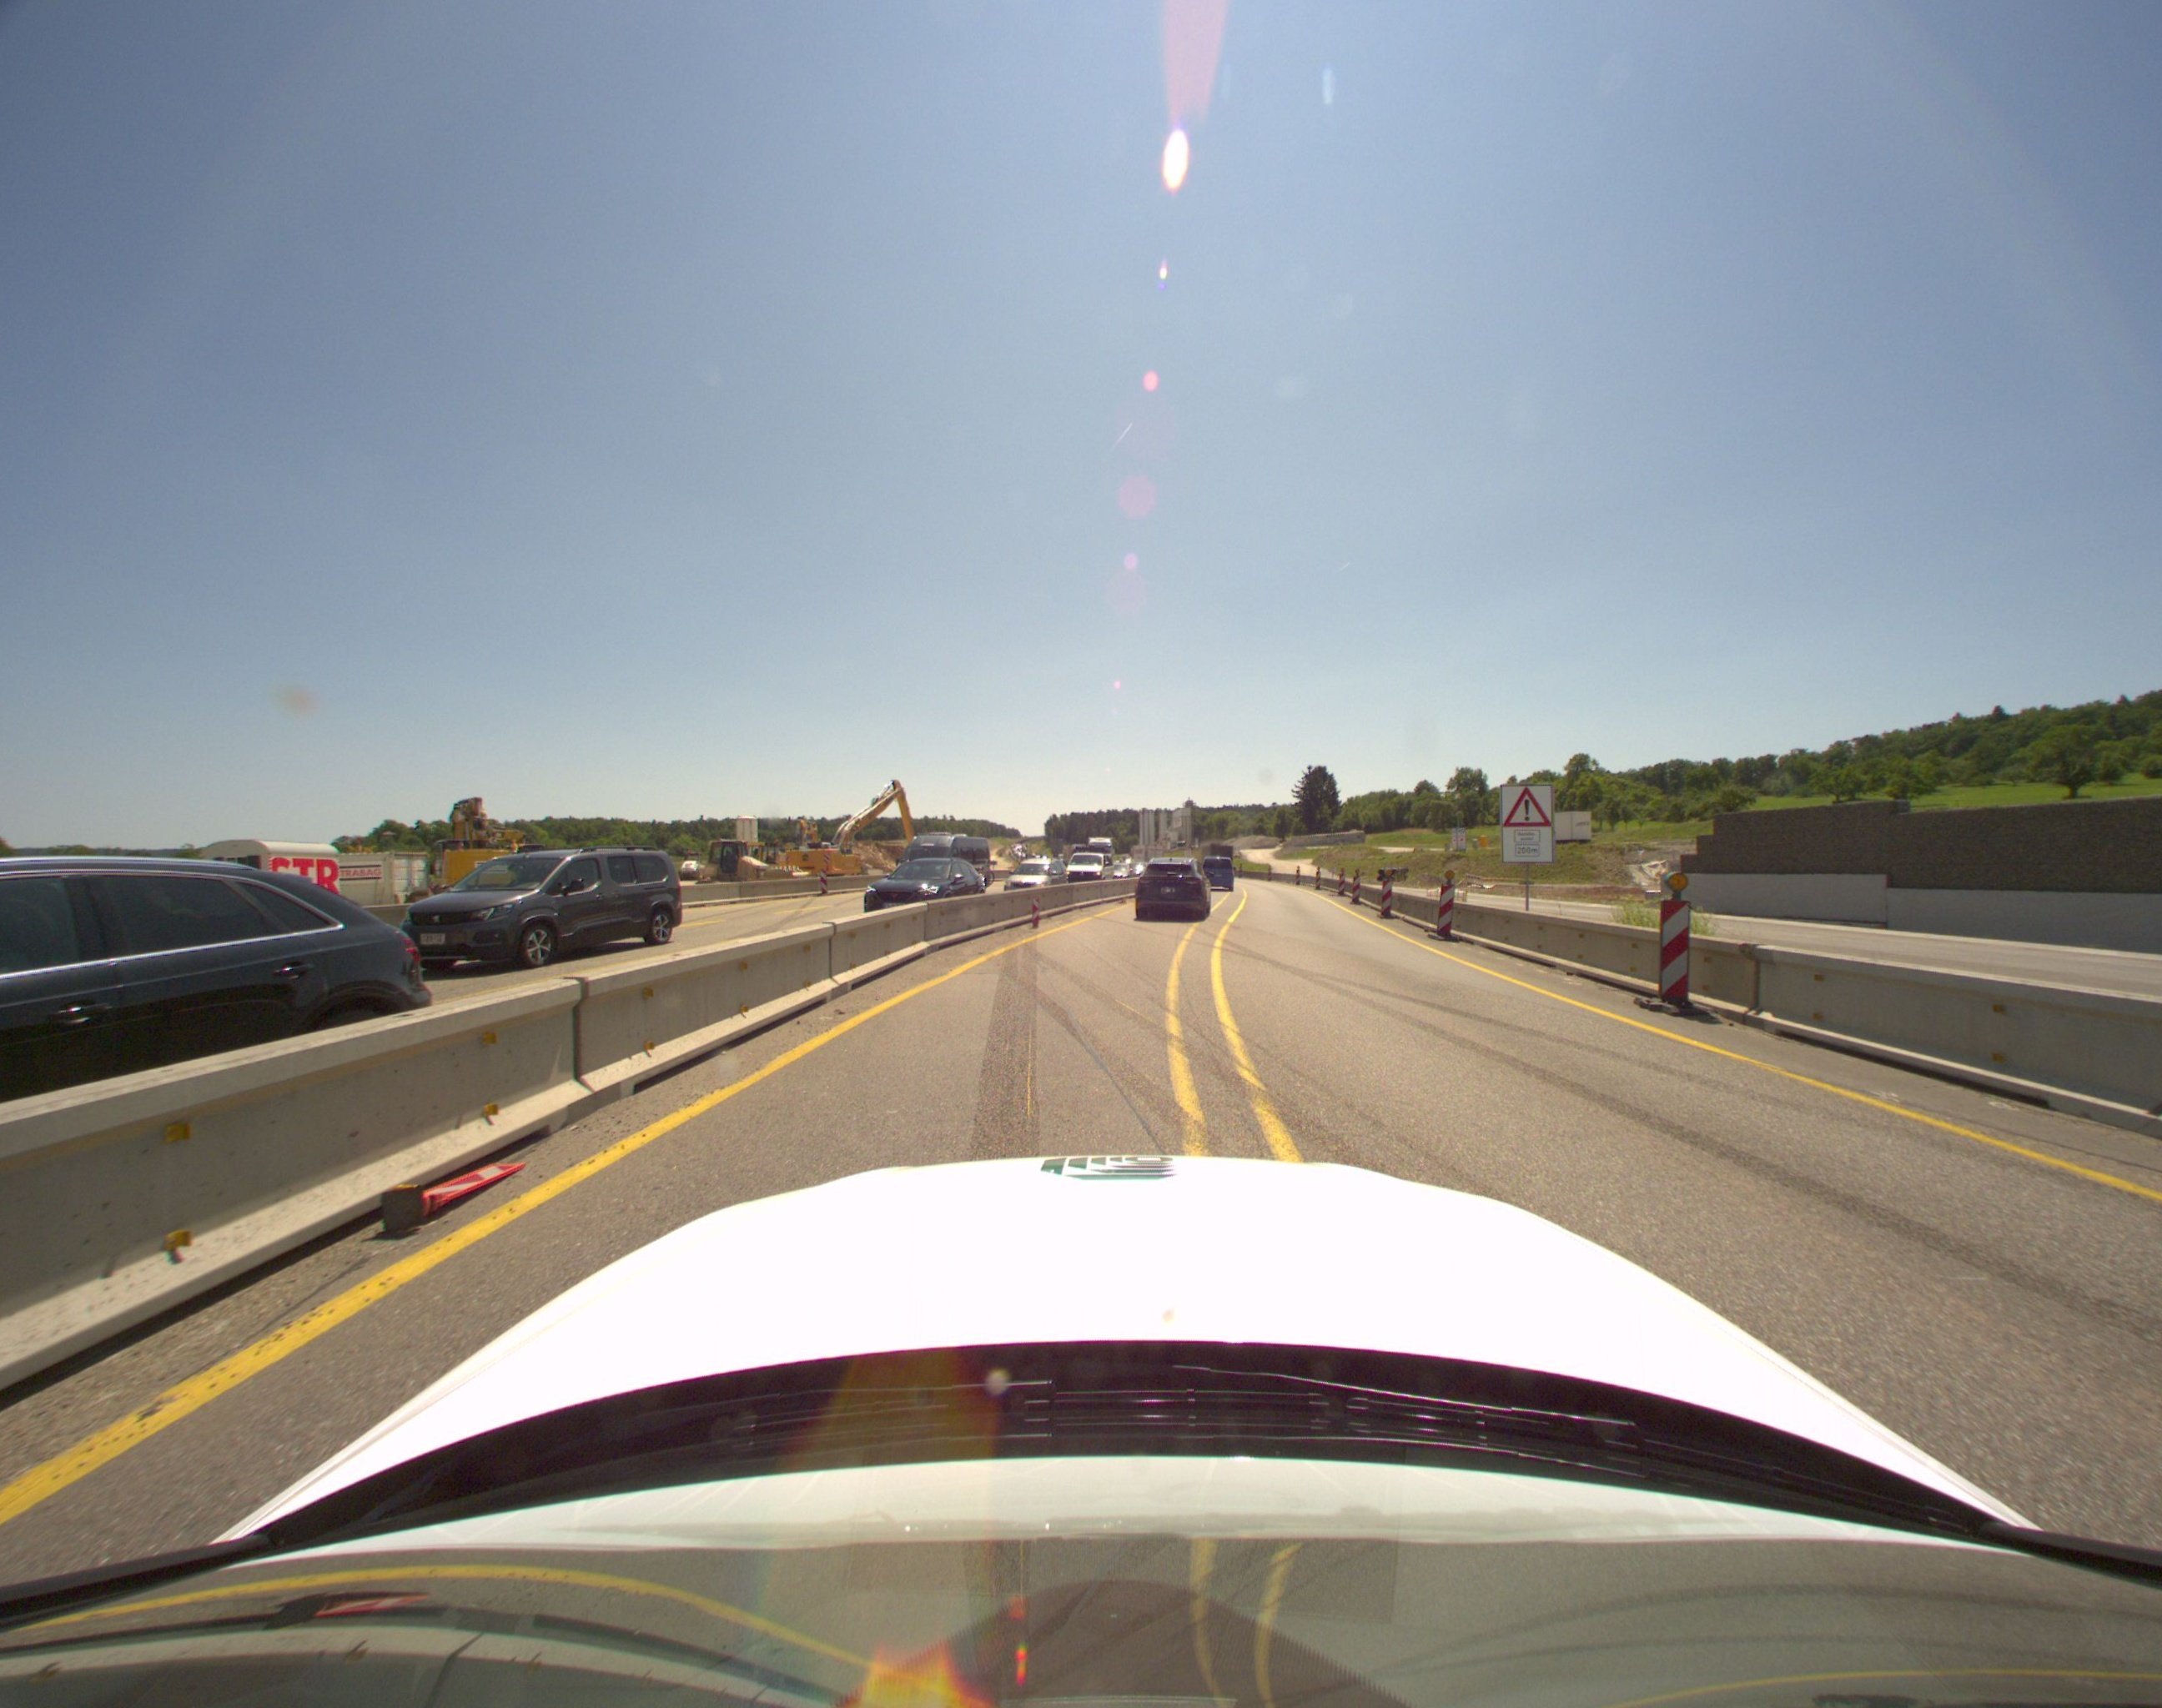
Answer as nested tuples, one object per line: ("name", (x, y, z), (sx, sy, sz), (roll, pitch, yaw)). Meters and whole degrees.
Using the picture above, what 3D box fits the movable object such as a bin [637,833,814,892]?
("movable object such as a bin", (-17.124, 0.363, 39.115), (7.829, 2.432, 3.741), (2, 0, 30))

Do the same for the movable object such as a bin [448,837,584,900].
("movable object such as a bin", (-32.076, 0.771, 46.575), (3.783, 3.256, 5.554), (2, 0, -1))

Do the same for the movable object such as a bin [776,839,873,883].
("movable object such as a bin", (-15.515, 0.421, 49.708), (3.269, 2.440, 5.458), (2, 0, 12))

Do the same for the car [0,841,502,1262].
("car", (-5.030, 0.785, 3.393), (1.762, 1.607, 4.710), (-2, 0, 1))

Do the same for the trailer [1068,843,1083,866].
("trailer", (-1.080, 0.075, 154.823), (2.729, 4.137, 8.180), (0, 0, -1))

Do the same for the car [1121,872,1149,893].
("car", (3.941, 2.030, 58.974), (1.716, 1.408, 4.137), (1, 0, 7))

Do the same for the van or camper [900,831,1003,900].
("van or camper", (-5.168, 0.443, 33.669), (2.085, 2.541, 6.325), (-1, -1, 12))

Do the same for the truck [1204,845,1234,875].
("truck", (14.063, 0.602, 83.094), (2.659, 2.945, 5.630), (-1, 0, 6))

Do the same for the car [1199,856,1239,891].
("car", (7.916, 1.067, 46.503), (1.980, 1.844, 4.014), (0, 0, 13))

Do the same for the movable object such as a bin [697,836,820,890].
("movable object such as a bin", (-18.153, 0.454, 45.886), (6.000, 2.763, 2.825), (2, 0, 20))

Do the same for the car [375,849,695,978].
("car", (-8.802, 0.841, 13.783), (1.765, 1.765, 4.720), (-2, 0, 7))

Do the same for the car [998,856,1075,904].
("car", (-1.586, 0.907, 30.562), (1.745, 1.616, 4.243), (1, 0, 13))

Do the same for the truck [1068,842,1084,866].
("truck", (-0.895, 0.027, 145.339), (2.765, 4.137, 10.865), (0, 0, -1))

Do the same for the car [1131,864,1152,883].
("car", (5.022, 1.573, 67.088), (1.648, 1.453, 4.254), (1, 0, 5))

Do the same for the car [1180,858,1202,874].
("car", (10.702, 1.156, 79.543), (2.035, 1.526, 5.075), (-1, 0, 6))

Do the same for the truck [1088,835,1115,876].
("truck", (2.245, 0.182, 90.157), (2.763, 4.277, 11.782), (0, 0, 1))

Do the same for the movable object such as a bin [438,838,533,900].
("movable object such as a bin", (-27.853, 0.667, 38.073), (3.320, 2.727, 2.897), (2, 0, 42))

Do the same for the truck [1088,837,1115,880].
("truck", (2.131, 0.460, 84.954), (2.761, 4.260, 6.200), (0, 0, 1))

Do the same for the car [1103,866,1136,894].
("car", (2.436, 1.591, 50.519), (1.500, 1.604, 3.964), (2, 0, 10))

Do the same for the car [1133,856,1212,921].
("car", (2.588, 0.870, 22.285), (1.831, 1.582, 4.011), (1, 0, 10))

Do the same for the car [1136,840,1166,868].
("car", (11.056, 0.054, 129.257), (3.428, 4.101, 9.189), (3, 0, -2))

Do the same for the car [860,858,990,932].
("car", (-3.541, 0.878, 19.362), (1.680, 1.481, 4.479), (-2, 0, 7))

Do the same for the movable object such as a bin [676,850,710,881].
("movable object such as a bin", (-42.585, 1.247, 89.524), (2.428, 3.126, 5.448), (3, 0, -18))

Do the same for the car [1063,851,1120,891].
("car", (0.619, 0.821, 41.453), (1.860, 1.873, 5.075), (1, 0, 13))

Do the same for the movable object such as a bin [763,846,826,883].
("movable object such as a bin", (-25.115, 0.869, 71.644), (3.652, 3.025, 4.993), (-1, 1, 1))
